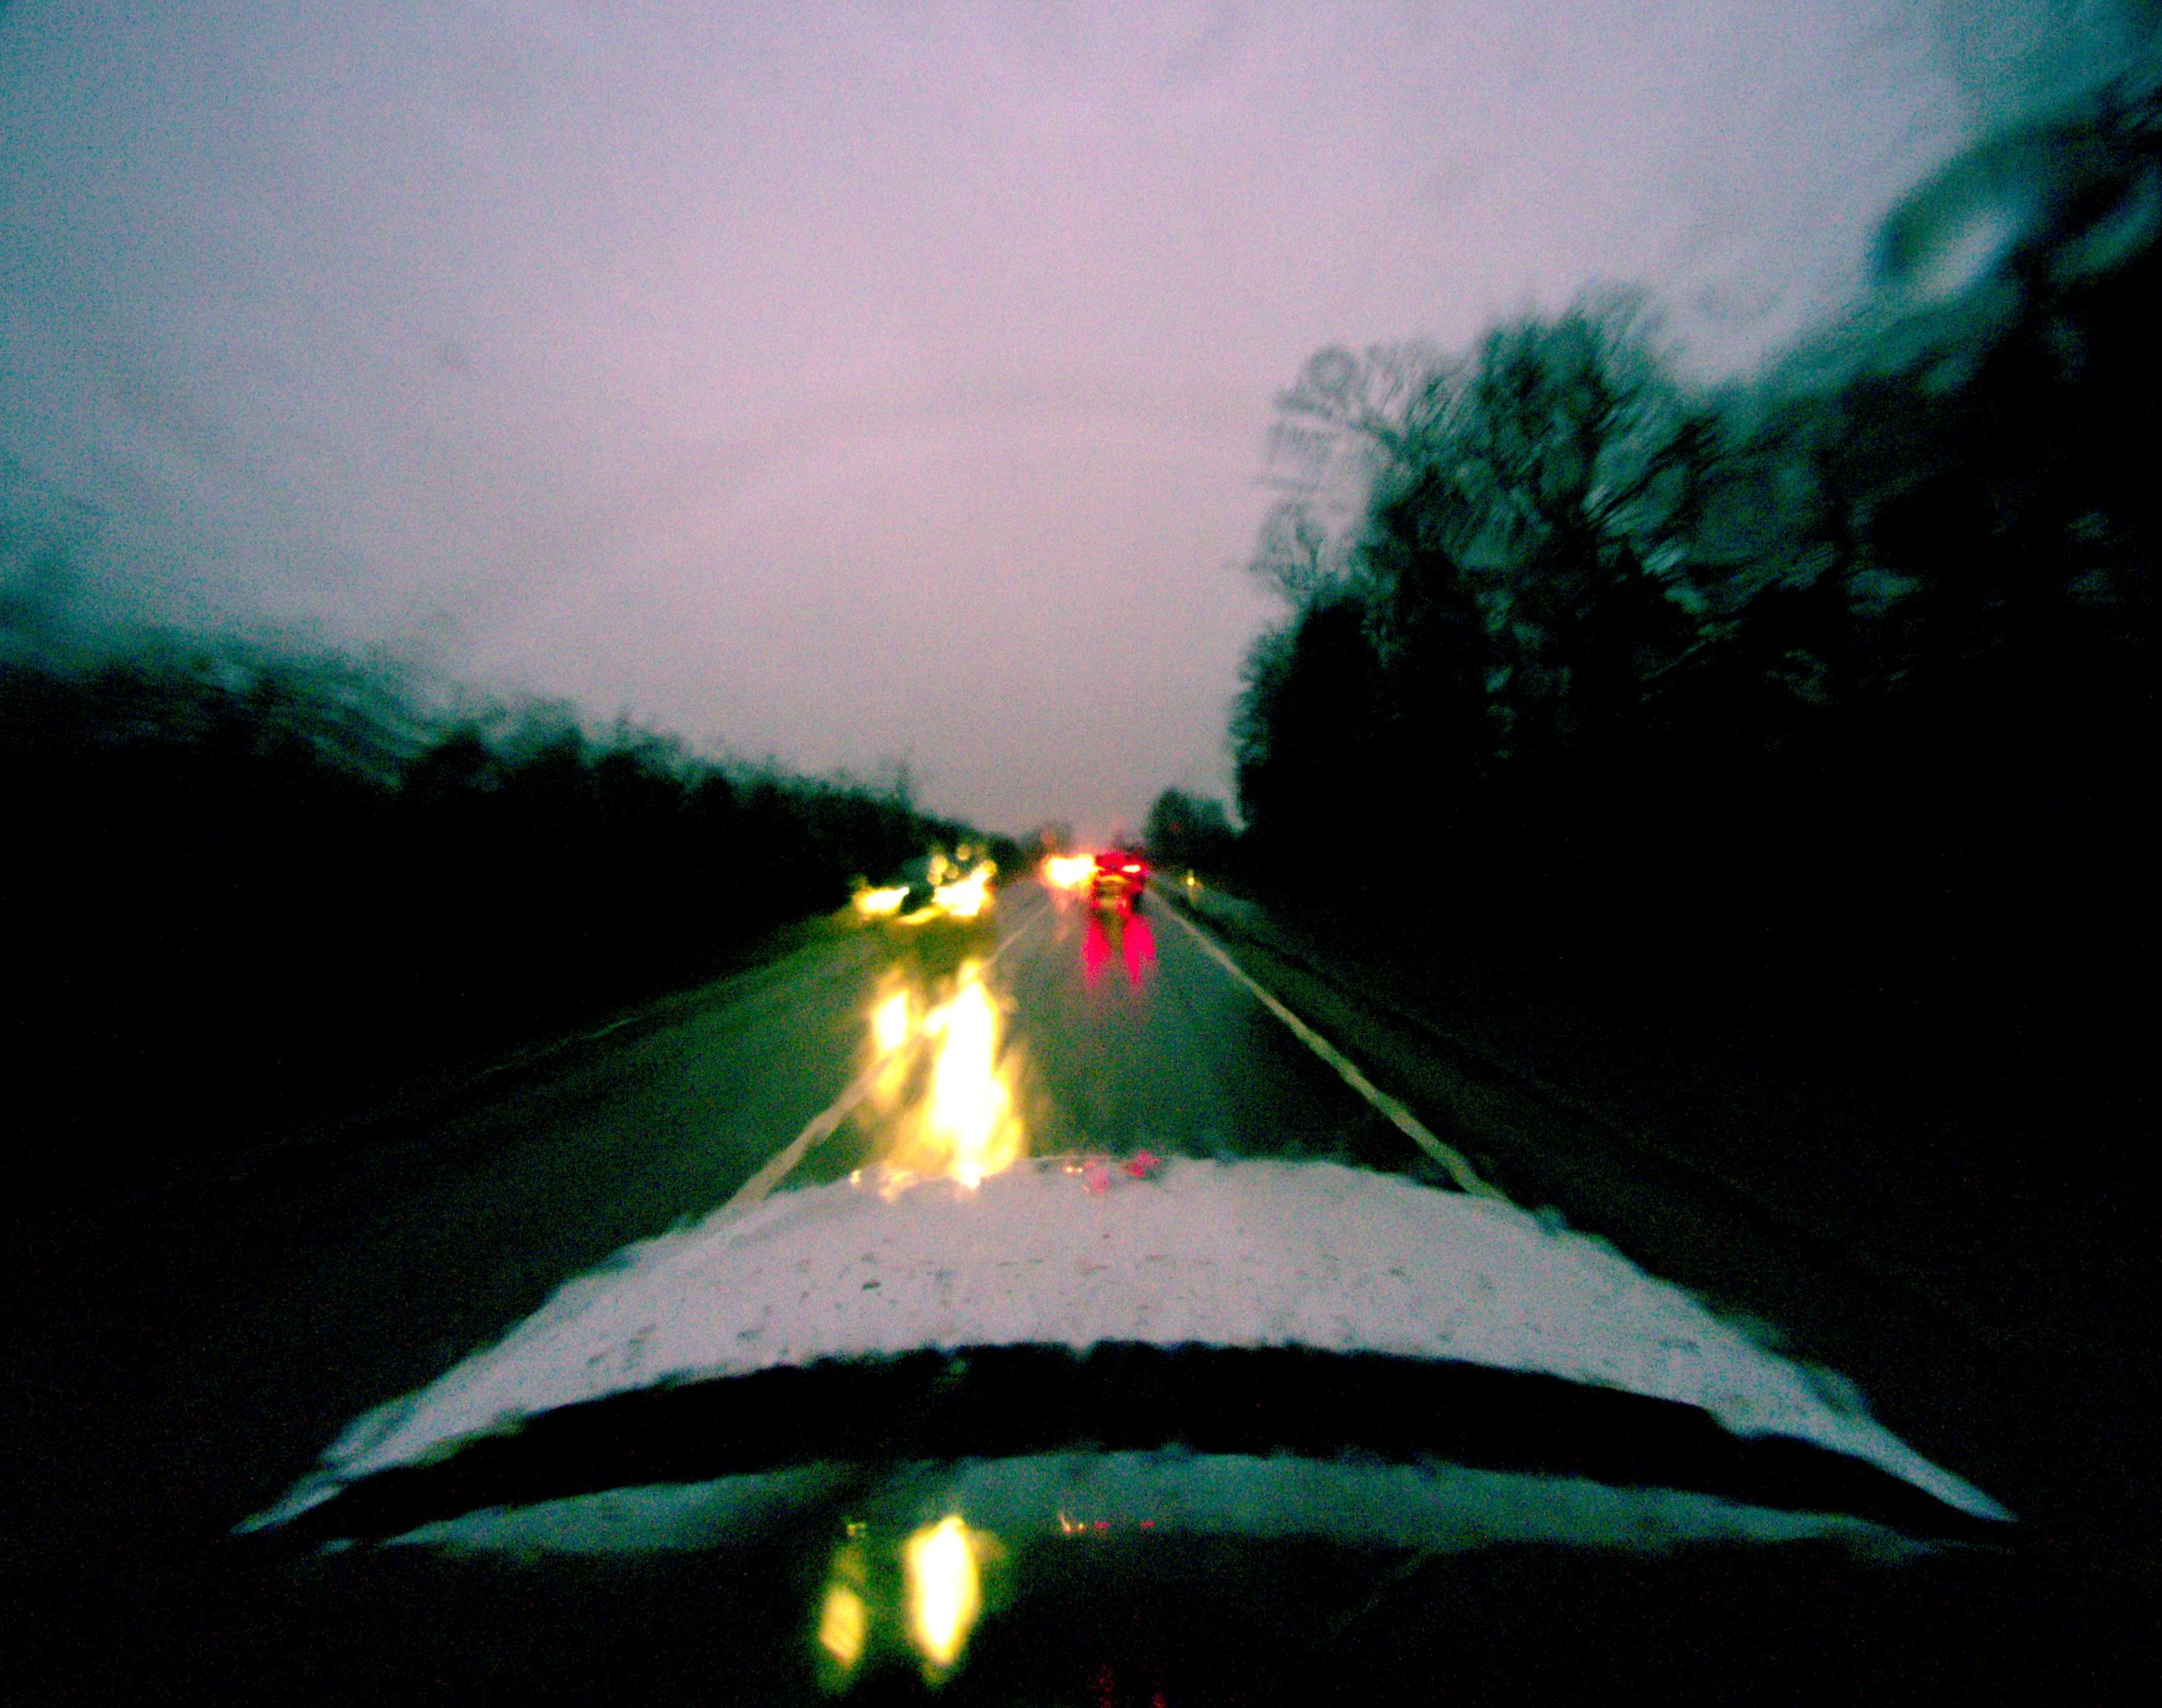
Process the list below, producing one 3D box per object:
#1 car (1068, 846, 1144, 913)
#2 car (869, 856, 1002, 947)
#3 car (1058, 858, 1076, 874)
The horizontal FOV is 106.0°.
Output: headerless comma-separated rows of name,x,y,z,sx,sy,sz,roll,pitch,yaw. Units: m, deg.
car,0.777,0.720,25.354,2.112,1.820,4.982,-1,0,1
car,-2.773,0.846,16.391,1.798,1.487,4.001,-3,0,1
car,-1.502,1.321,89.891,1.761,1.598,4.000,-4,0,1
